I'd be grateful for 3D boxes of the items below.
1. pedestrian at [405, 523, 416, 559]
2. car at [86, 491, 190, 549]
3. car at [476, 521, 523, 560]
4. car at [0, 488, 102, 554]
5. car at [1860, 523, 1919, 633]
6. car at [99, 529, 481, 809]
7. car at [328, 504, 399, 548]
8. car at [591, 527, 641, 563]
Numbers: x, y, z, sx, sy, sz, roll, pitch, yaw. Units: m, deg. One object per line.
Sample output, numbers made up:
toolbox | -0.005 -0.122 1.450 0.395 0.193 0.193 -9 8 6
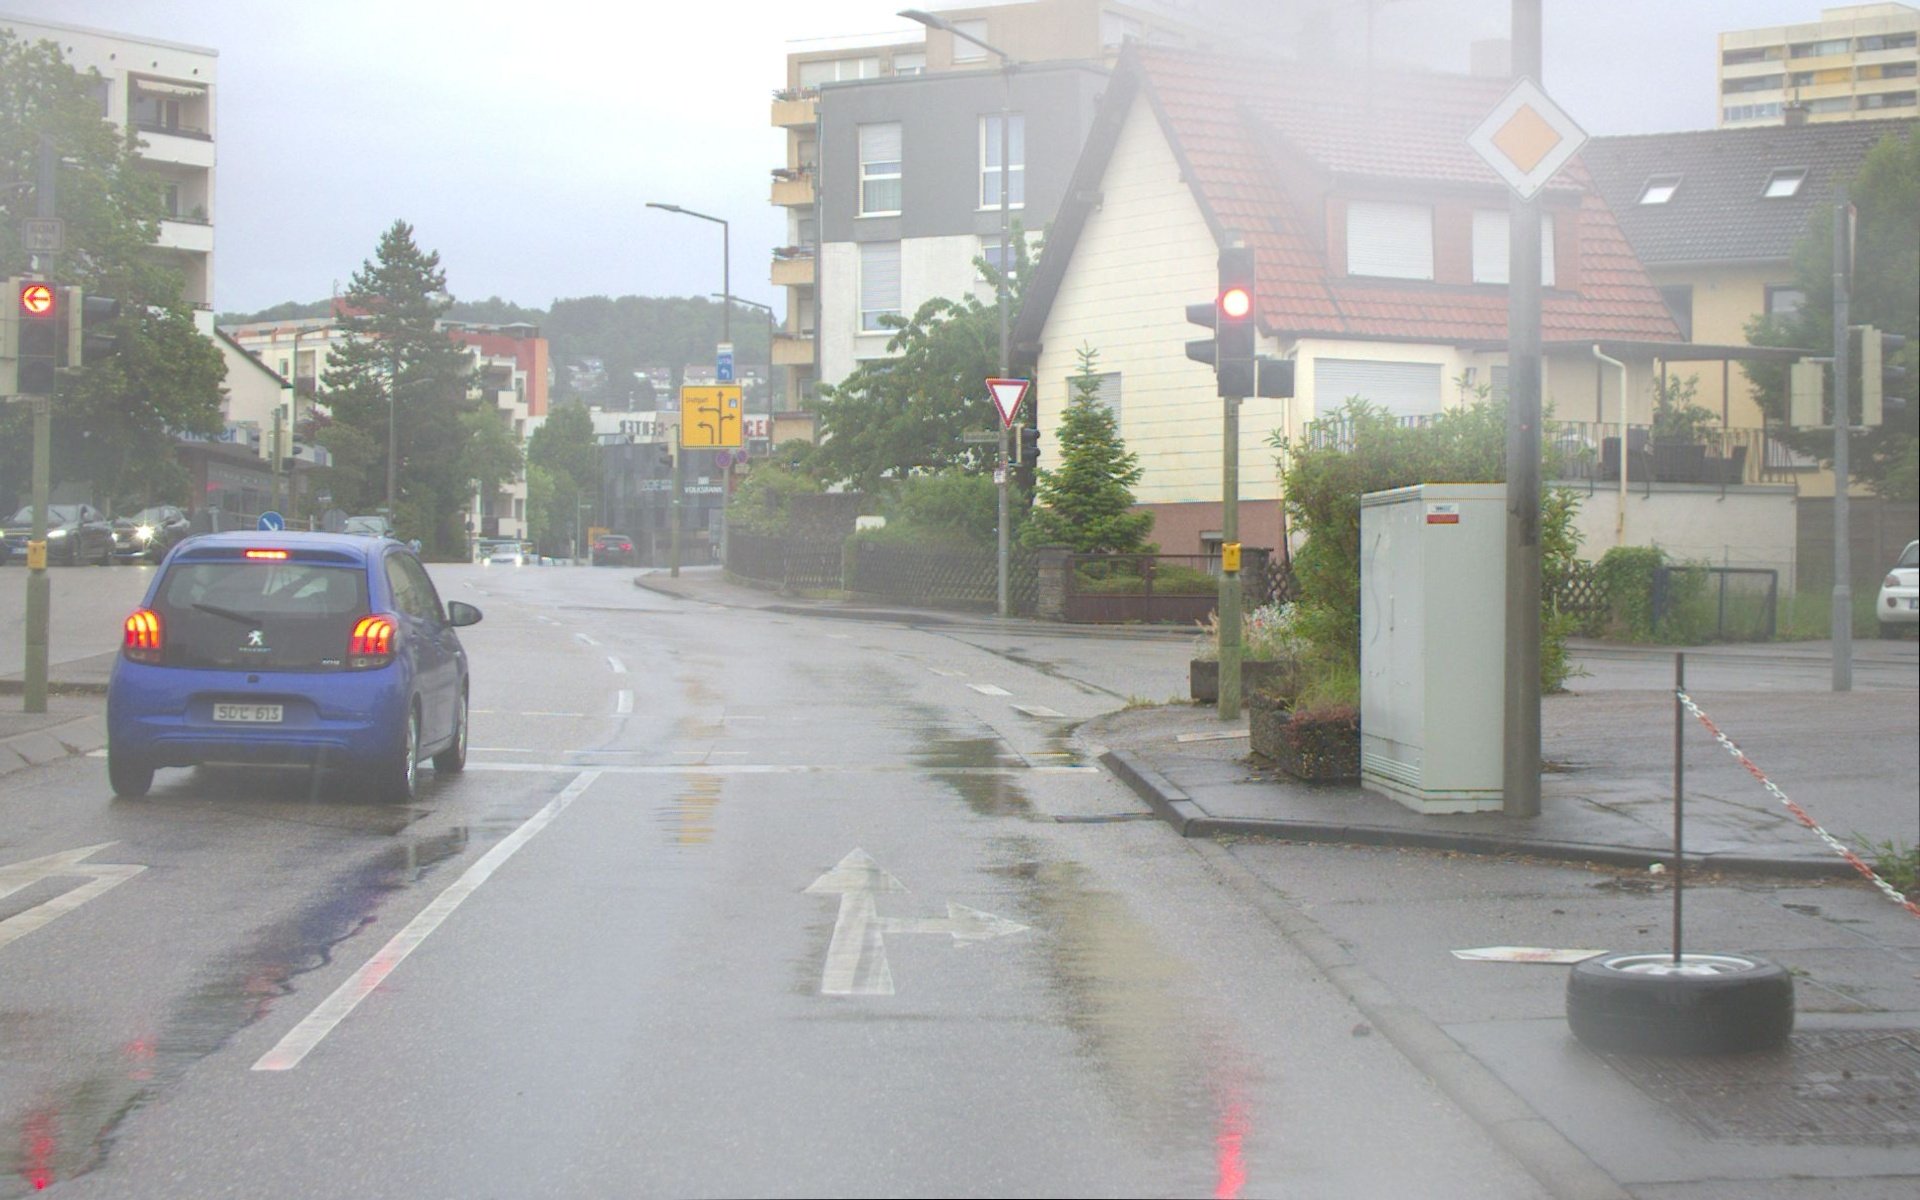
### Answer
pedestrian | -25.747 -2.772 161.082 0.432 1.652 0.499 0 1 -11
car | -20.110 -1.972 84.230 1.715 1.382 4.021 1 2 -2
car | -22.071 -2.855 164.925 1.755 1.809 3.861 1 2 -1
car | -20.535 -1.784 76.991 1.778 1.415 3.831 1 2 -2
car | 14.478 -0.328 49.242 1.743 1.509 3.992 2 2 36
car | -3.710 0.325 19.496 1.578 1.406 3.270 1 2 -1
car | -19.772 -2.455 114.024 1.778 1.415 3.831 1 2 -2
car | -14.885 -2.380 148.869 1.813 1.481 4.189 0 2 -1
